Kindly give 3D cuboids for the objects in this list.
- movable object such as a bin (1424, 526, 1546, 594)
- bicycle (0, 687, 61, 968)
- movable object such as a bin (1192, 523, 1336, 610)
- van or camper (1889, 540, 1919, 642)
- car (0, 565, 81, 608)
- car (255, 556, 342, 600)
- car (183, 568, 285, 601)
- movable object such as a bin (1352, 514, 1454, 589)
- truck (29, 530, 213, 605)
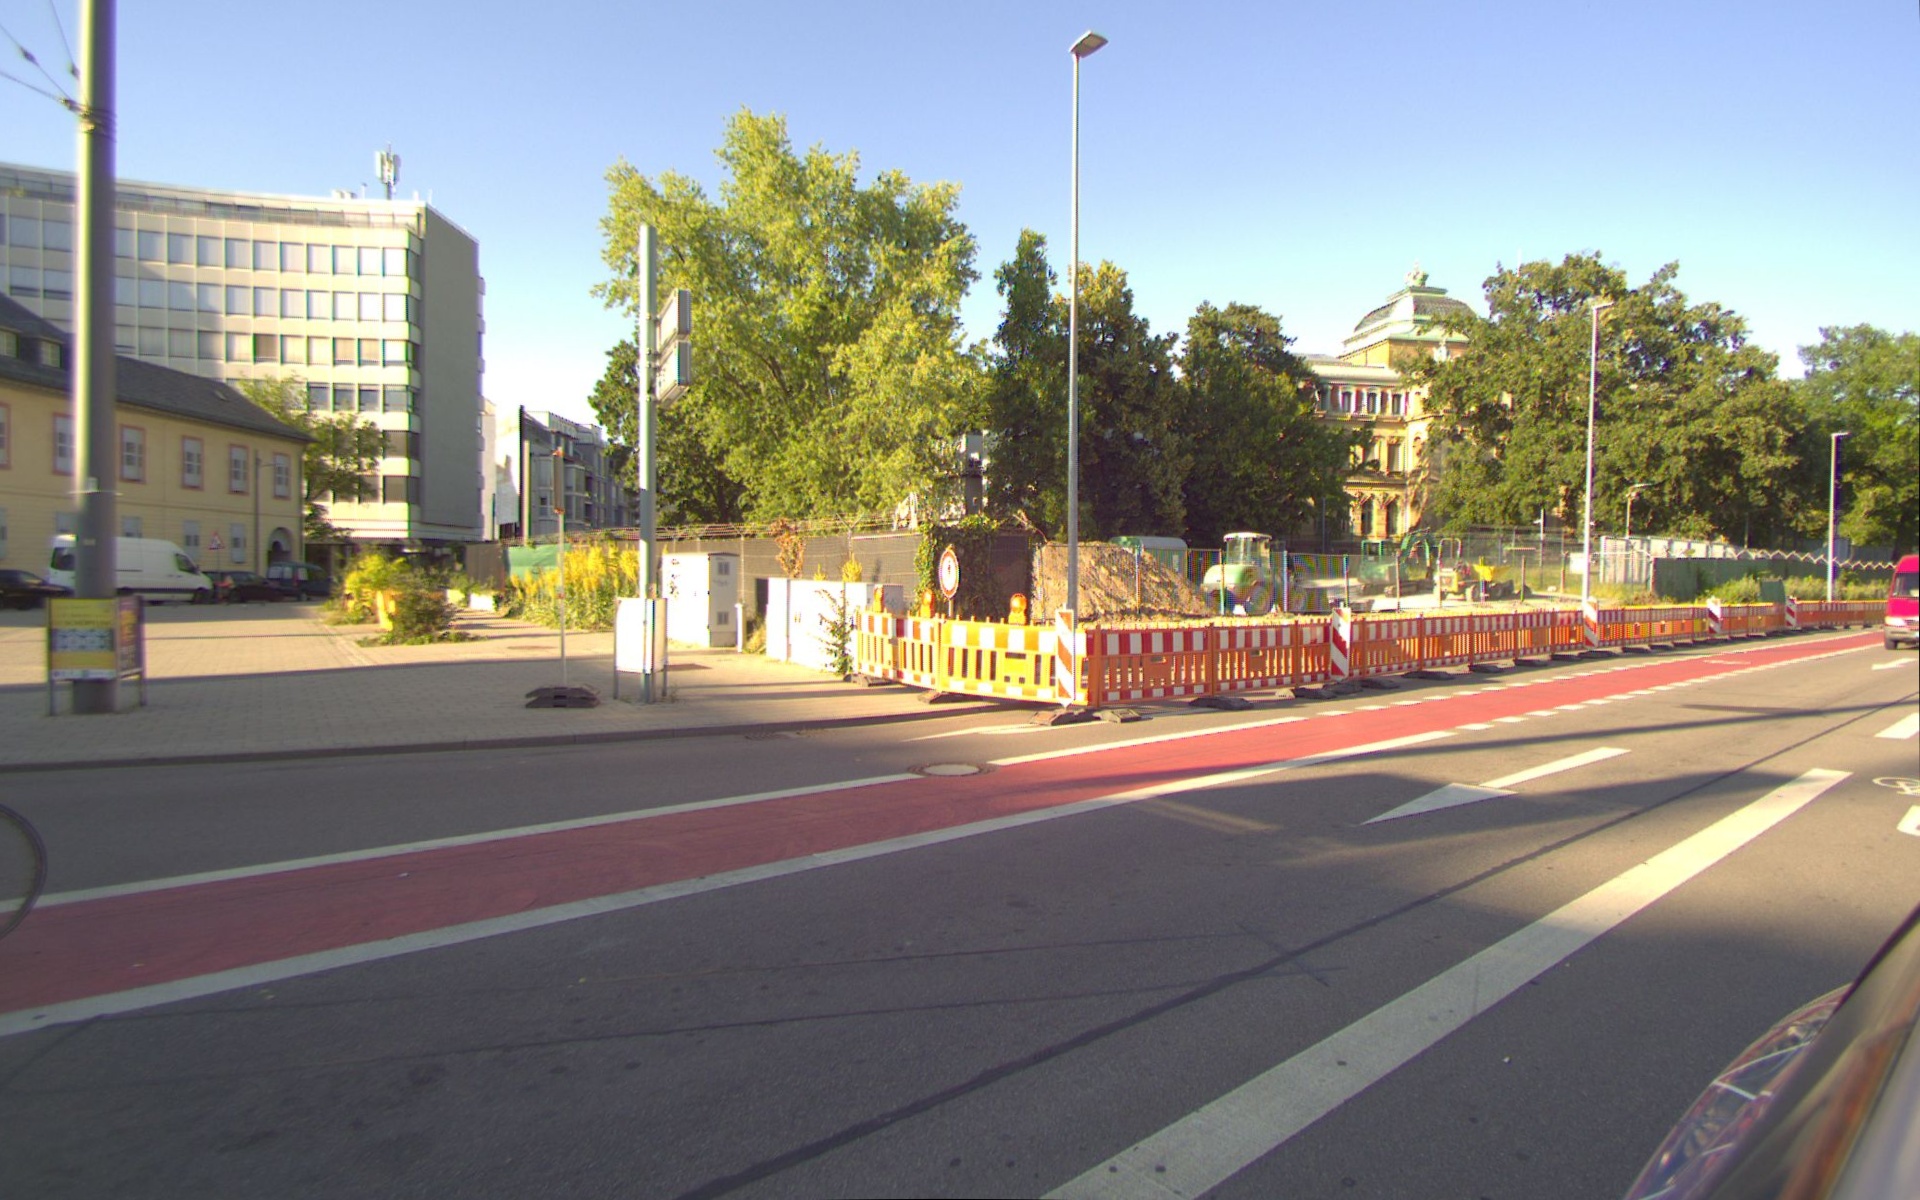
[{"bbox_3d":[23.155,-1.718,44.584,5.750,2.851,2.002,-1,0,-30],"label":"movable object such as a bin"},{"bbox_3d":[-4.292,0.897,3.553,0.541,1.013,1.666,0,1,45],"label":"bicycle"},{"bbox_3d":[10.140,-1.084,33.563,4.920,2.717,1.999,-1,1,-36],"label":"movable object such as a bin"},{"bbox_3d":[26.504,-0.284,26.880,5.810,2.561,1.997,-1,1,-40],"label":"van or camper"},{"bbox_3d":[-31.131,-0.429,32.749,1.682,1.382,4.194,-1,1,1],"label":"car"},{"bbox_3d":[-31.655,-1.055,48.556,1.682,2.005,3.761,-1,1,1],"label":"car"},{"bbox_3d":[-31.609,-0.683,44.203,1.682,1.382,3.761,-1,1,1],"label":"car"},{"bbox_3d":[20.892,-2.219,47.608,5.274,3.371,1.999,-1,0,-36],"label":"movable object such as a bin"},{"bbox_3d":[-31.603,-1.181,38.442,2.258,2.580,5.638,-1,1,1],"label":"truck"}]
